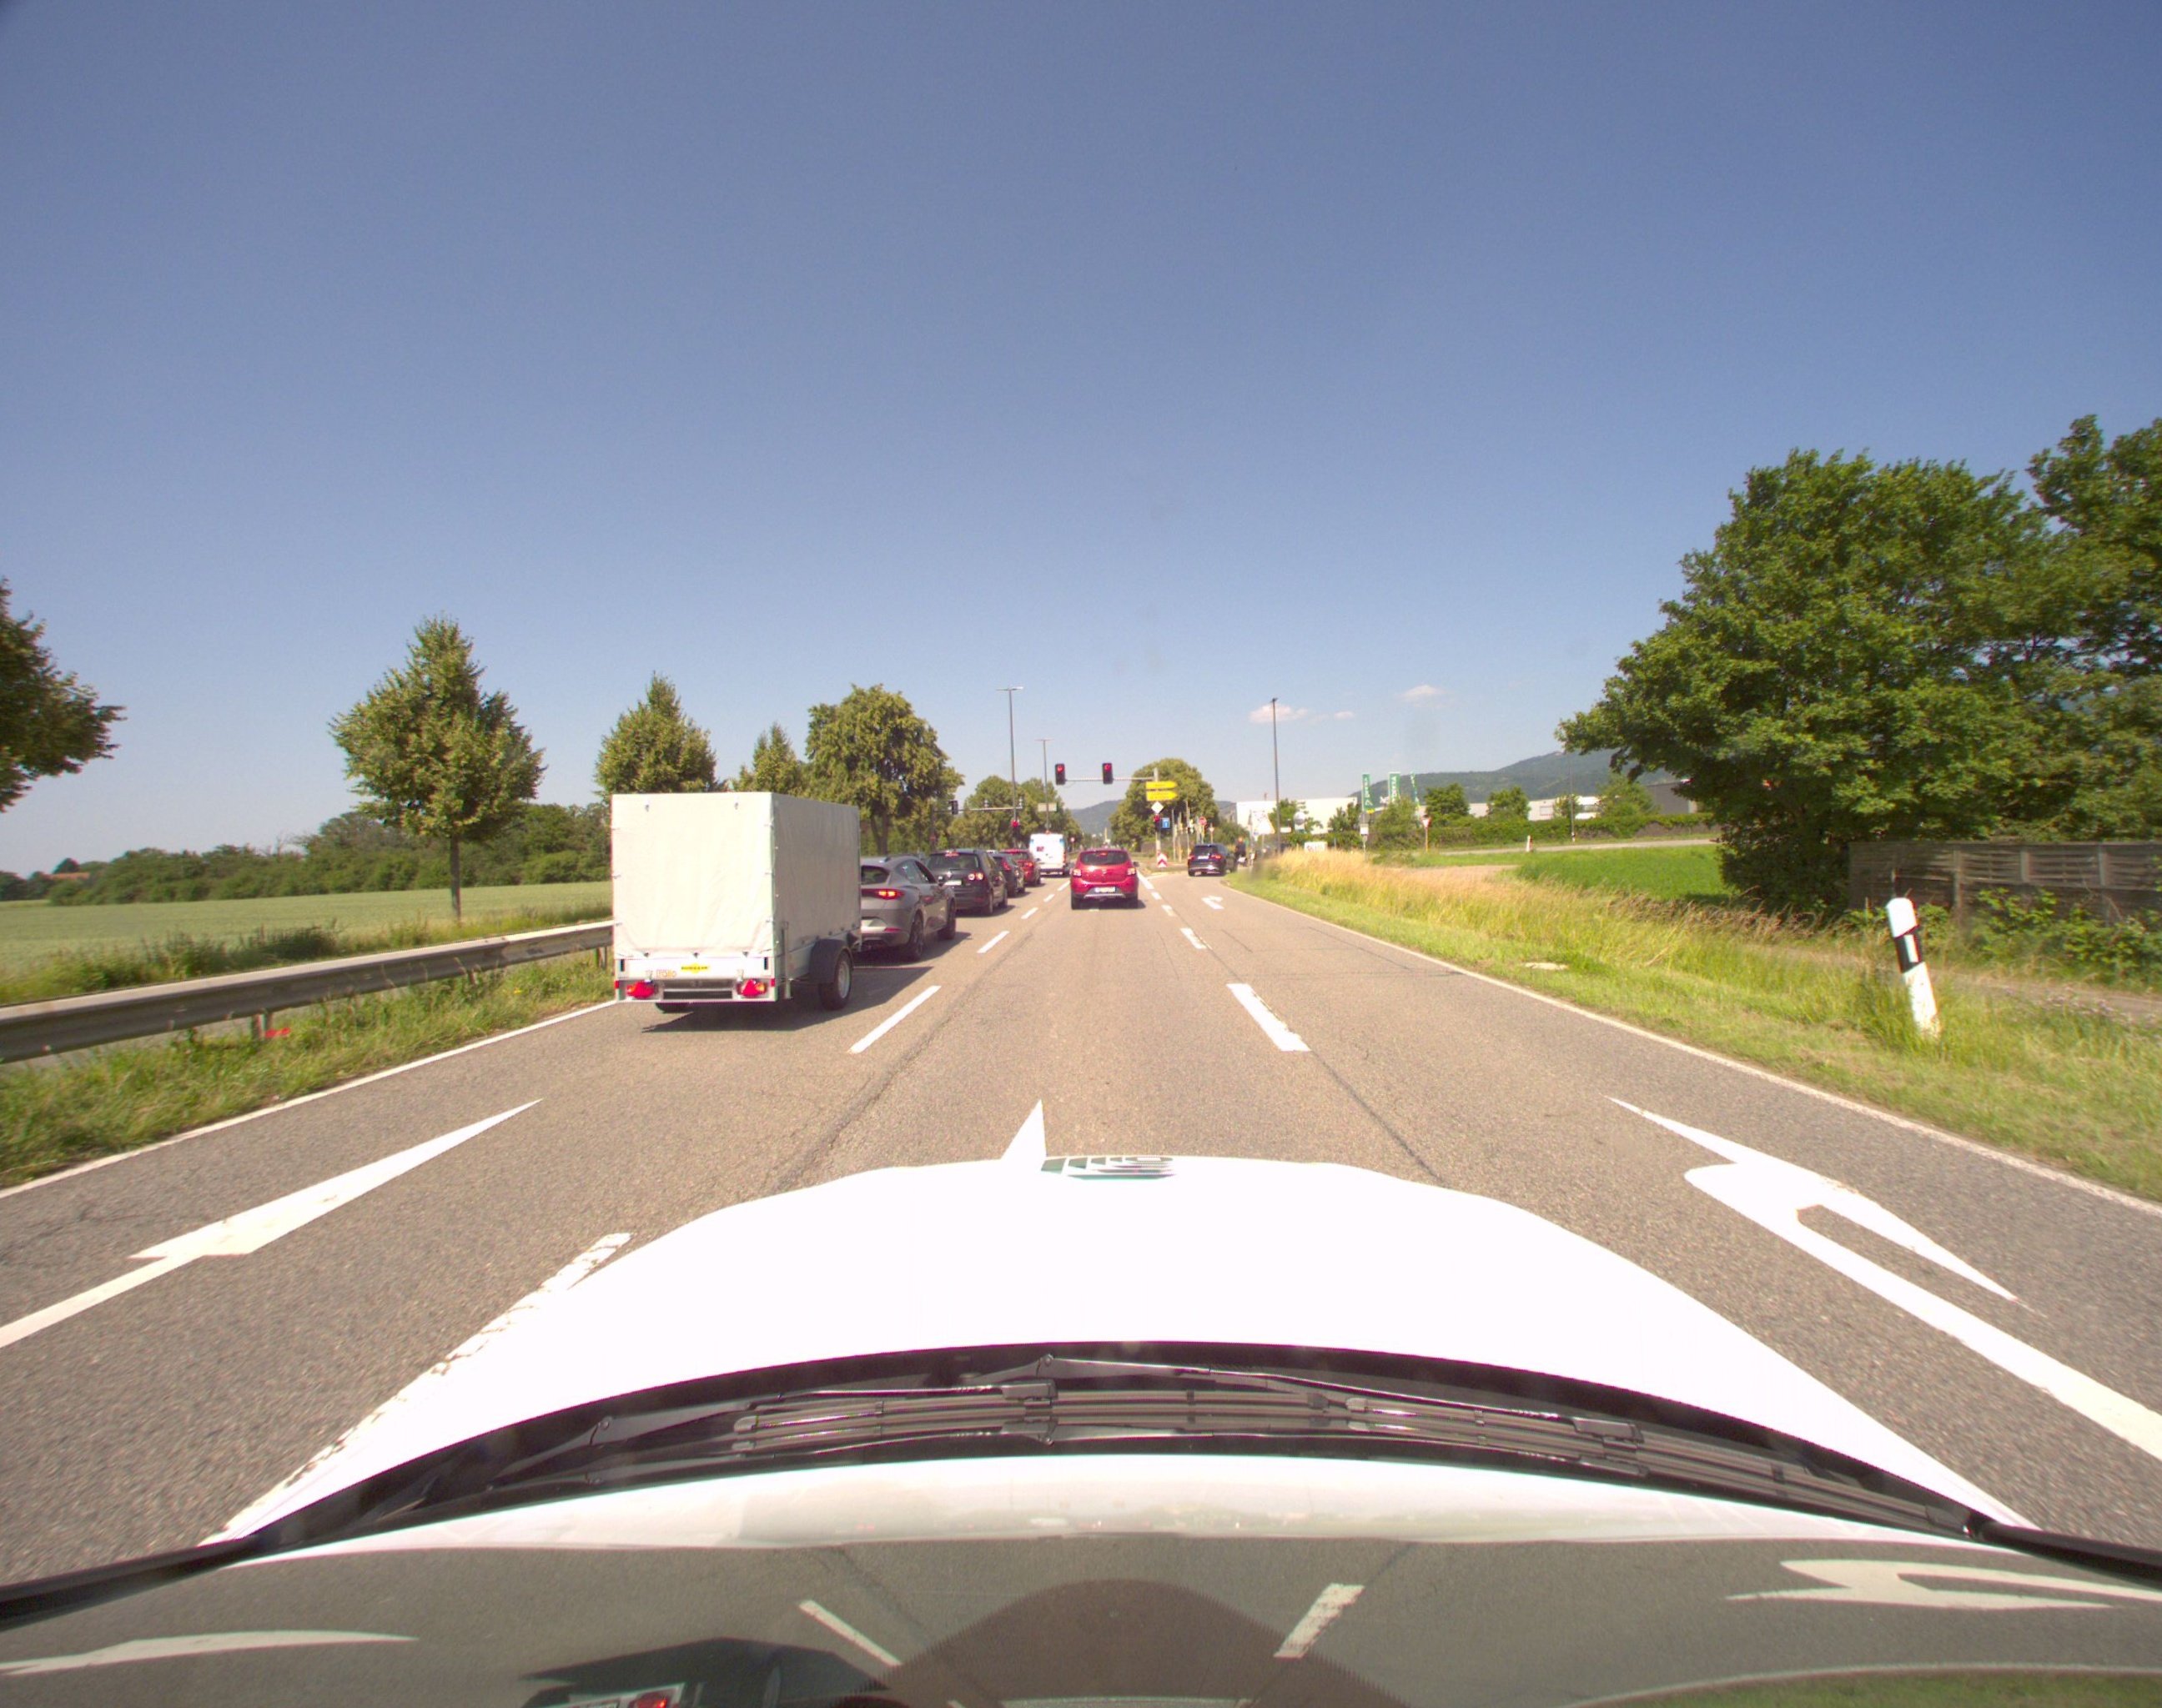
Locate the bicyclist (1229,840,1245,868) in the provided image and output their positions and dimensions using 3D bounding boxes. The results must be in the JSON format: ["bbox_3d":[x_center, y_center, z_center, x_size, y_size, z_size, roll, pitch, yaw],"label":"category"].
[{"bbox_3d":[10.348,0.001,53.977,0.802,1.771,0.806,-2,0,-9],"label":"bicyclist"}]

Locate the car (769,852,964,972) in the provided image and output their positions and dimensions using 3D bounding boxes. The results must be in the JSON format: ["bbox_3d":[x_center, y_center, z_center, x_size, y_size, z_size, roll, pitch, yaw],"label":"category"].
[{"bbox_3d":[-3.077,0.740,12.690,1.739,1.503,4.365,-1,0,2],"label":"car"}]

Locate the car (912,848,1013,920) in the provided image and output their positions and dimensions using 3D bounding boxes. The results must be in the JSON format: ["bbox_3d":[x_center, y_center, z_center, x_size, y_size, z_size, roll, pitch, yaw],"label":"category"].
[{"bbox_3d":[-2.824,0.662,20.200,1.716,1.575,3.895,-1,0,3],"label":"car"}]

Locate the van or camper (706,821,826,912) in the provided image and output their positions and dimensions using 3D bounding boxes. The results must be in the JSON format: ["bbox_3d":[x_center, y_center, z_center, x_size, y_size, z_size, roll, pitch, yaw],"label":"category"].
[{"bbox_3d":[-11.990,0.416,31.577,2.255,3.099,5.696,-2,0,1],"label":"van or camper"}]

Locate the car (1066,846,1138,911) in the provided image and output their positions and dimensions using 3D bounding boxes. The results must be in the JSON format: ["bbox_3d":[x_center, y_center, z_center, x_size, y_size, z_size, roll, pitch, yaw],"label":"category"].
[{"bbox_3d":[0.633,0.590,21.796,1.742,1.575,3.680,-1,0,3],"label":"car"}]

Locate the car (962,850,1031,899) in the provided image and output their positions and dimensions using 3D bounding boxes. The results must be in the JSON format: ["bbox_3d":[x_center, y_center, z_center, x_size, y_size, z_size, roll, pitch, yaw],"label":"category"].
[{"bbox_3d":[-2.736,0.631,27.181,1.695,1.442,3.958,0,1,3],"label":"car"}]

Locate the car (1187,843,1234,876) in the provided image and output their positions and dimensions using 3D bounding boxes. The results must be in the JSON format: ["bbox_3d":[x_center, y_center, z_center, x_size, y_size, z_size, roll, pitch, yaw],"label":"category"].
[{"bbox_3d":[6.724,0.249,41.986,1.979,1.616,4.356,-1,0,14],"label":"car"}]

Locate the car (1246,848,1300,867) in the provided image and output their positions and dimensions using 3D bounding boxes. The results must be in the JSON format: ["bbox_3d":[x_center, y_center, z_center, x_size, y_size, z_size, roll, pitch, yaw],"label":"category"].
[{"bbox_3d":[15.110,0.238,64.222,3.964,1.327,1.811,-2,0,8],"label":"car"}]

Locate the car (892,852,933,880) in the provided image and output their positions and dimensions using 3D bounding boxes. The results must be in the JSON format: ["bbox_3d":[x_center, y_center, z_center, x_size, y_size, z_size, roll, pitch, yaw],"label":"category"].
[{"bbox_3d":[-12.058,0.817,58.492,1.851,1.855,4.697,-2,0,1],"label":"car"}]

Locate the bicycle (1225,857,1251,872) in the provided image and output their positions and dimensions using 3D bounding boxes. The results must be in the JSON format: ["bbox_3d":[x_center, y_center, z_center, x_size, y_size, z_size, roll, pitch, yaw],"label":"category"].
[{"bbox_3d":[10.375,0.710,54.023,0.761,0.915,2.770,-2,0,-9],"label":"bicycle"}]

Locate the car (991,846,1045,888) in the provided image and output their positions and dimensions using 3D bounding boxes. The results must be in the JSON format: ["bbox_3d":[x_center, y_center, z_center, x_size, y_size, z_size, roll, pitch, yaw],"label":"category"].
[{"bbox_3d":[-2.564,0.497,34.032,1.717,1.600,3.958,-1,0,3],"label":"car"}]

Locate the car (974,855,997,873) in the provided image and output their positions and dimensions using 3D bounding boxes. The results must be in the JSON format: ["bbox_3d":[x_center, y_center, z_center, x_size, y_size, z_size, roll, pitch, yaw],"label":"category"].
[{"bbox_3d":[-11.609,1.196,99.401,1.987,1.931,5.016,-2,0,1],"label":"car"}]

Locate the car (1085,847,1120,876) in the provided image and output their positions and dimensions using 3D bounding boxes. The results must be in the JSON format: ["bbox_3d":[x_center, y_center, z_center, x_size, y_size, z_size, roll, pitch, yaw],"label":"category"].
[{"bbox_3d":[1.203,0.400,44.394,1.742,1.458,3.680,-1,1,3],"label":"car"}]

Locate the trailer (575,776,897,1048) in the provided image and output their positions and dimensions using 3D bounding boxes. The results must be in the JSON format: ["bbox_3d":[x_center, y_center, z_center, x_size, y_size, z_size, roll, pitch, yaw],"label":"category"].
[{"bbox_3d":[-3.257,0.458,8.663,1.495,2.173,4.176,-1,0,2],"label":"trailer"}]

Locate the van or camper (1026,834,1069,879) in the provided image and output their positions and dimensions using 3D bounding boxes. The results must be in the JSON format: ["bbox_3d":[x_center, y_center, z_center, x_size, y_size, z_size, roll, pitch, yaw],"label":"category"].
[{"bbox_3d":[-1.765,0.098,44.498,2.172,2.302,4.825,-1,0,0],"label":"van or camper"}]
